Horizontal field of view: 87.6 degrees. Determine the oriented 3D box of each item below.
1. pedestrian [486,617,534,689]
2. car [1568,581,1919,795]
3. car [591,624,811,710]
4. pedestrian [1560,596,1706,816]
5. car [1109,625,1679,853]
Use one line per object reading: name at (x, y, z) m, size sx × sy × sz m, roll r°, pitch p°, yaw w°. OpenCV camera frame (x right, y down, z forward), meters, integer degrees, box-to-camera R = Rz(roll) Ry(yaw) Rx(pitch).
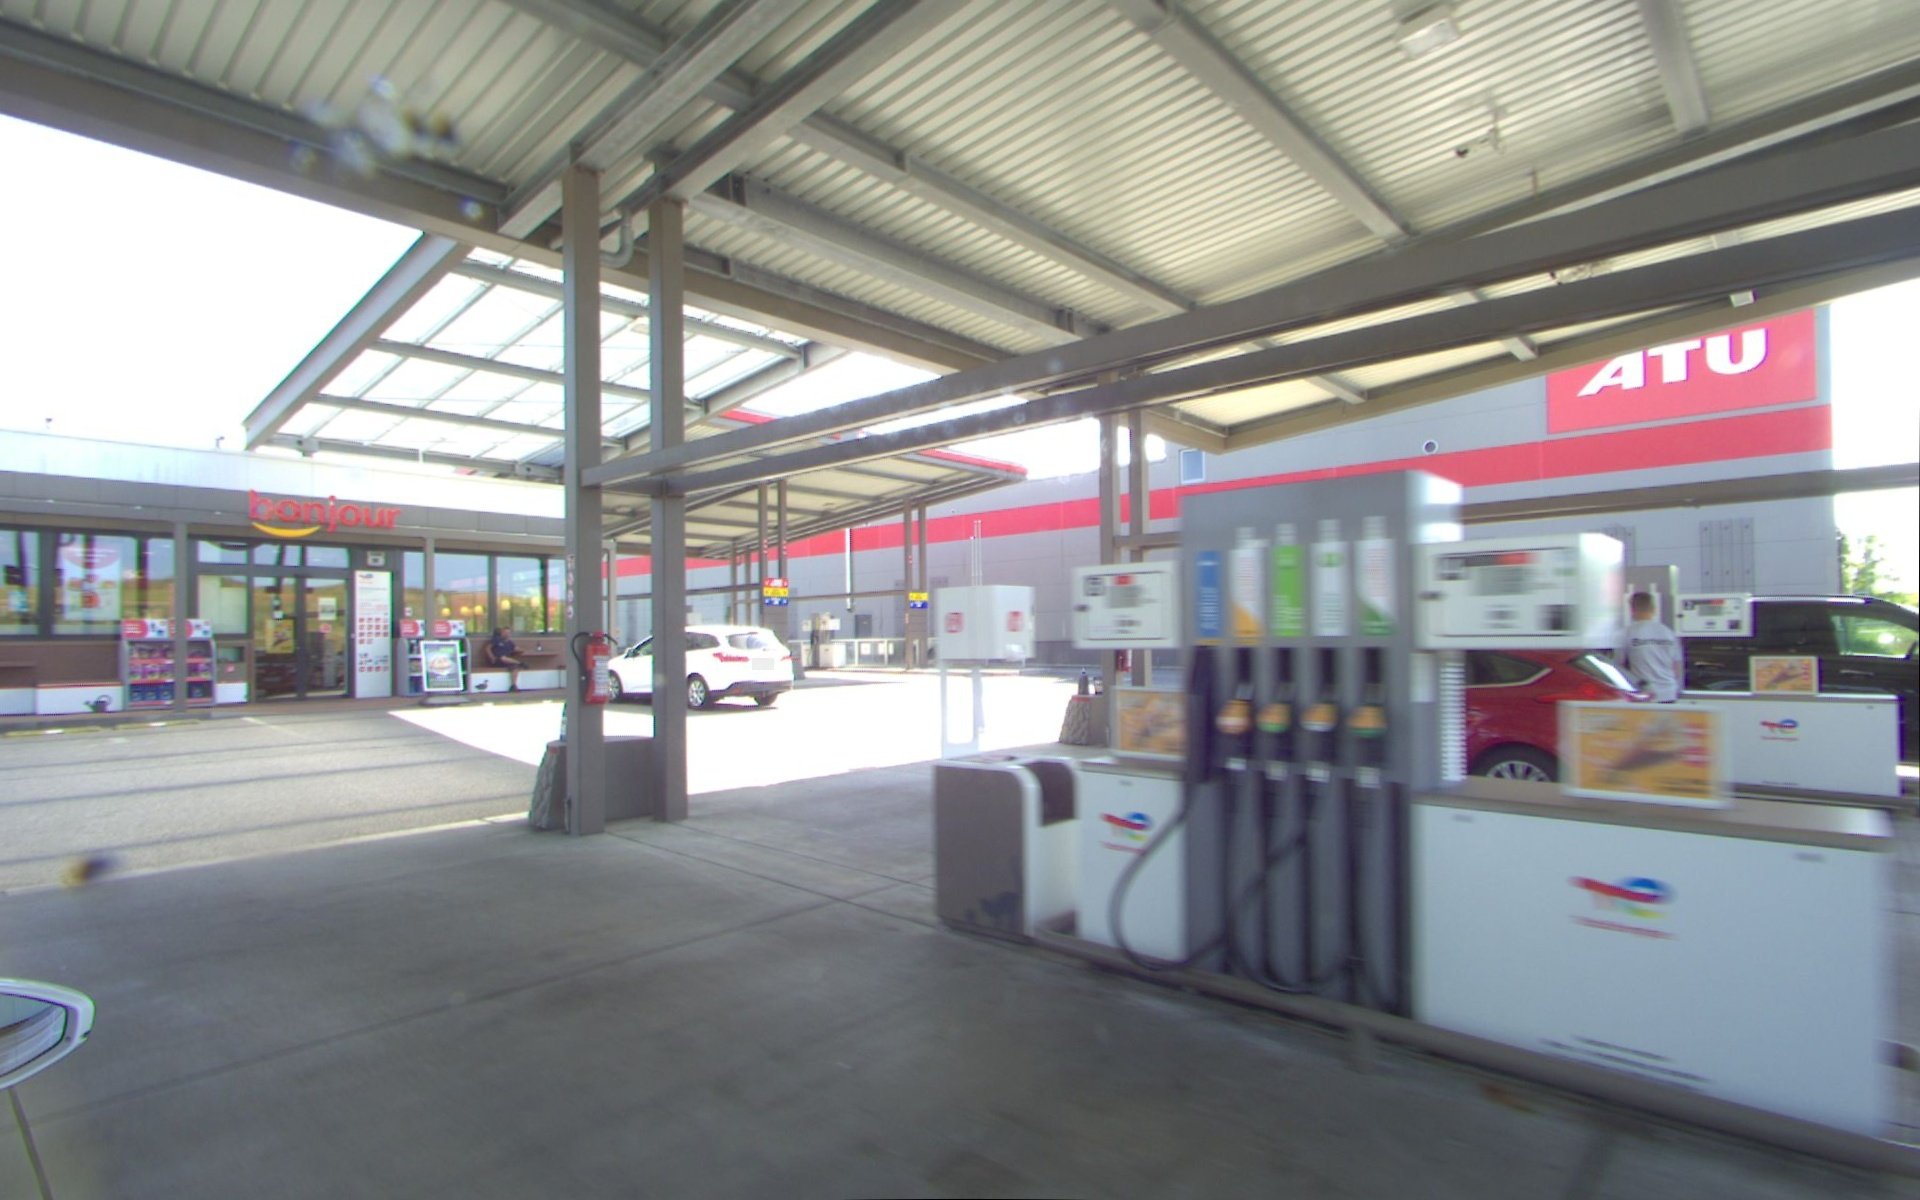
pedestrian at (-9.267, 1.083, 20.624) m, size 0.665 × 1.450 × 0.698 m, roll -1°, pitch -1°, yaw 41°
car at (8.872, 0.789, 9.766) m, size 4.744 × 1.875 × 2.017 m, roll 0°, pitch -1°, yaw 42°
car at (-5.012, 1.203, 19.146) m, size 4.265 × 1.475 × 1.824 m, roll -1°, pitch -2°, yaw 36°
pedestrian at (5.658, 0.847, 8.424) m, size 0.918 × 1.725 × 0.697 m, roll -1°, pitch -1°, yaw 43°
car at (3.502, 0.966, 8.592) m, size 4.186 × 1.488 × 1.690 m, roll -1°, pitch -2°, yaw 42°
